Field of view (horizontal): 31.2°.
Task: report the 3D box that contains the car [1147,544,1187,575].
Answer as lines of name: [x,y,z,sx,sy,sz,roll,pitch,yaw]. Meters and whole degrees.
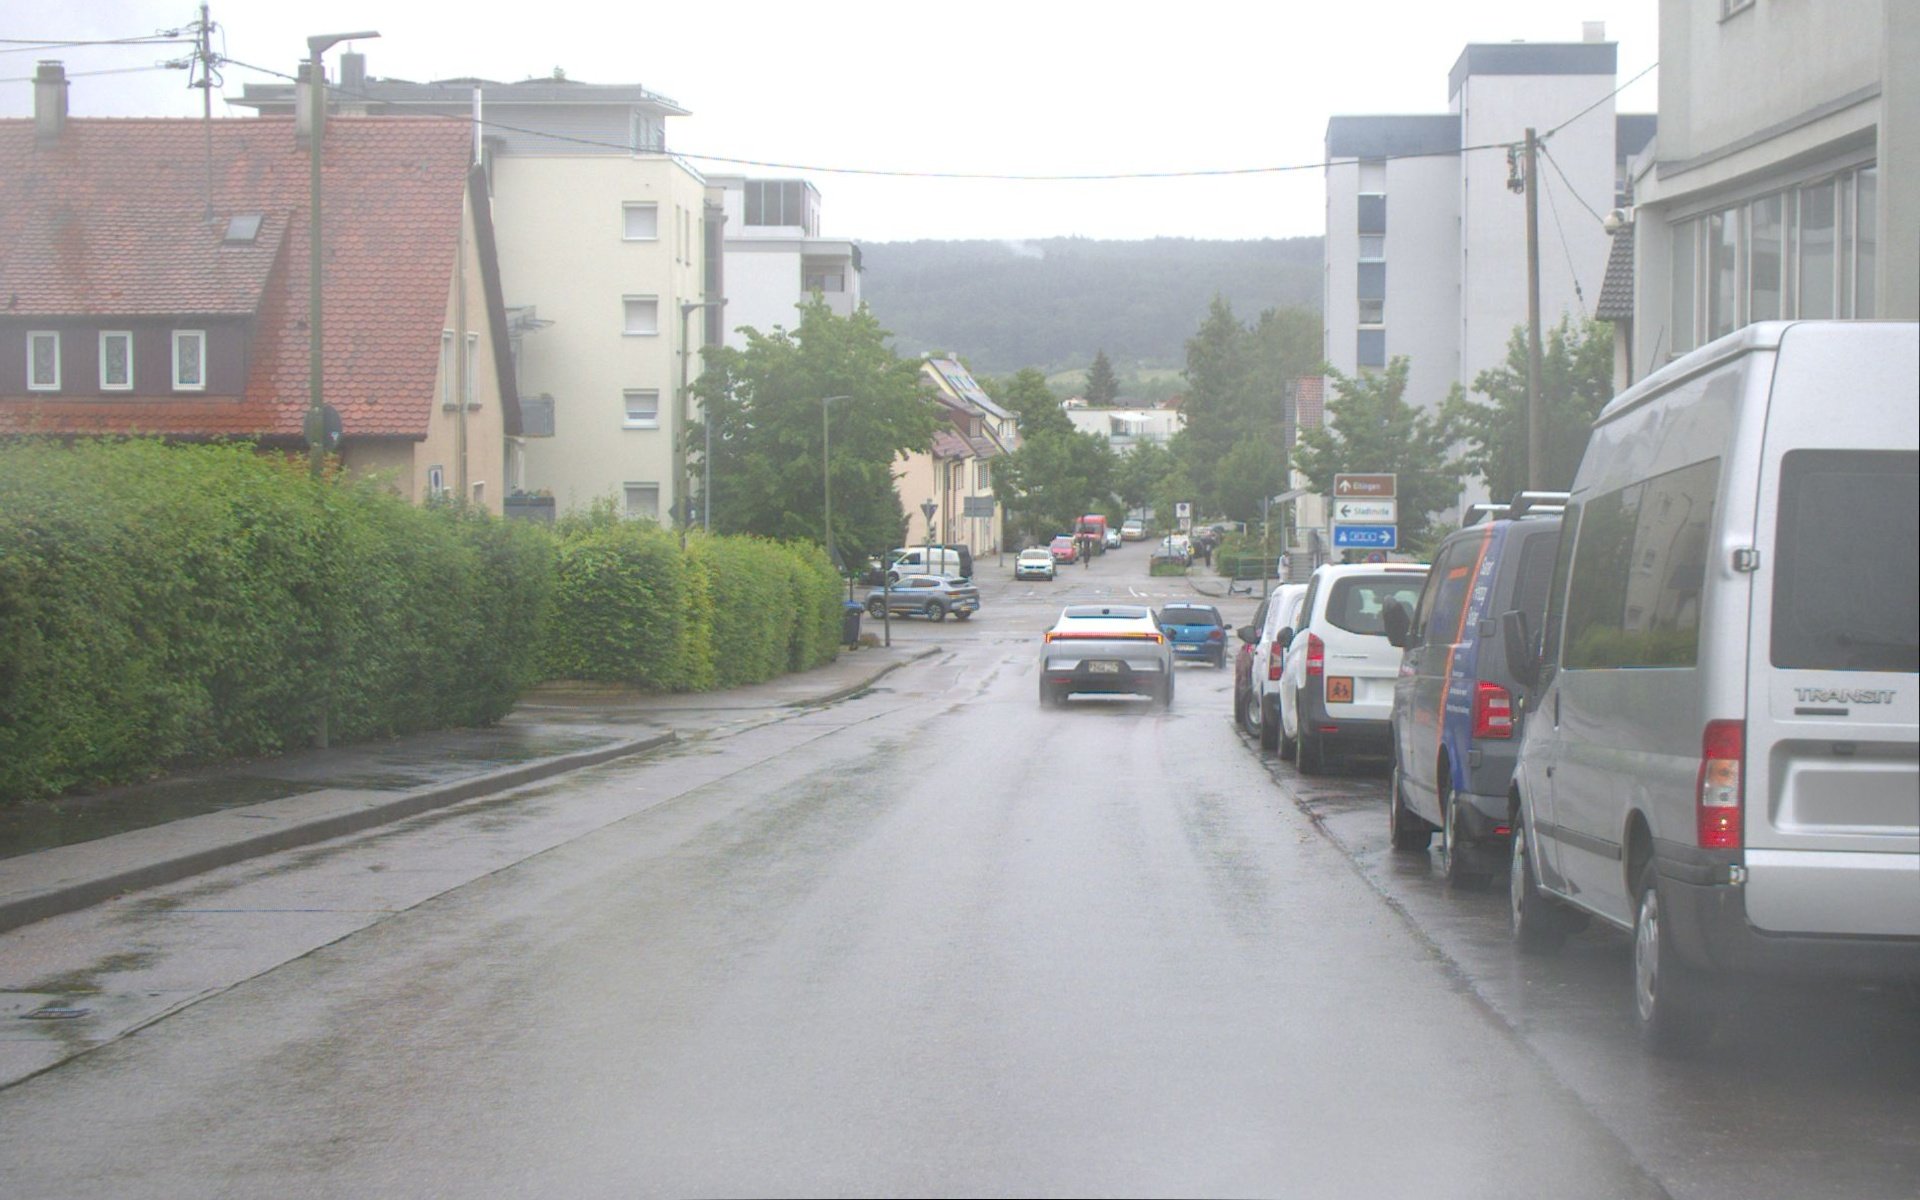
car: [11.346,-2.238,188.511,2.146,1.583,4.128,-1,1,4]

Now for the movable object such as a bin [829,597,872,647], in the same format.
movable object such as a bin: [-3.024,0.607,94.900,1.071,1.343,1.319,2,0,1]

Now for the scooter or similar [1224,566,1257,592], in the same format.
scooter or similar: [11.847,-0.897,145.140,1.268,1.078,0.876,-1,1,-1]

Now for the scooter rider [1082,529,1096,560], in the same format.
scooter rider: [7.563,-3.236,201.414,0.752,1.789,0.673,-1,1,3]

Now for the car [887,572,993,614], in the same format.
car: [-0.768,-0.283,129.744,1.885,1.520,3.999,-1,2,-40]

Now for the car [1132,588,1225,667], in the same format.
car: [5.156,0.627,81.527,1.993,1.678,4.000,-1,2,1]

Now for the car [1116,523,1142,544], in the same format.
car: [12.865,-5.050,261.291,1.901,1.553,4.191,-1,1,4]

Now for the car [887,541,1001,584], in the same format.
car: [-0.720,-1.721,155.966,4.829,1.829,2.000,-2,2,-35]

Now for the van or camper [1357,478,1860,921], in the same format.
van or camper: [3.414,0.458,19.120,1.994,2.106,5.202,-1,0,2]

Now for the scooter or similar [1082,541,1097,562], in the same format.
scooter or similar: [7.589,-2.852,201.514,0.757,1.167,1.314,-1,1,5]

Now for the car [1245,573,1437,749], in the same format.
car: [4.158,0.628,38.099,1.878,1.827,4.488,0,0,3]

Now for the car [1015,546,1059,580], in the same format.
car: [3.931,-1.903,175.009,1.994,1.620,4.191,-1,1,4]

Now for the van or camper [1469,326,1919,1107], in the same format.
van or camper: [3.167,0.306,12.563,1.994,2.235,5.441,-1,0,2]

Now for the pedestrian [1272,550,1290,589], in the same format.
pedestrian: [13.651,-1.286,146.154,0.647,1.641,0.526,3,1,-3]

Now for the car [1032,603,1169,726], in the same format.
car: [2.120,0.961,52.919,1.993,1.678,4.000,-1,2,1]

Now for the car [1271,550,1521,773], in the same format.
car: [4.021,0.530,32.425,1.994,1.928,4.975,0,0,3]

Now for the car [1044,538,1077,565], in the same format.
car: [6.185,-2.993,211.389,1.901,1.553,4.191,-1,1,4]
